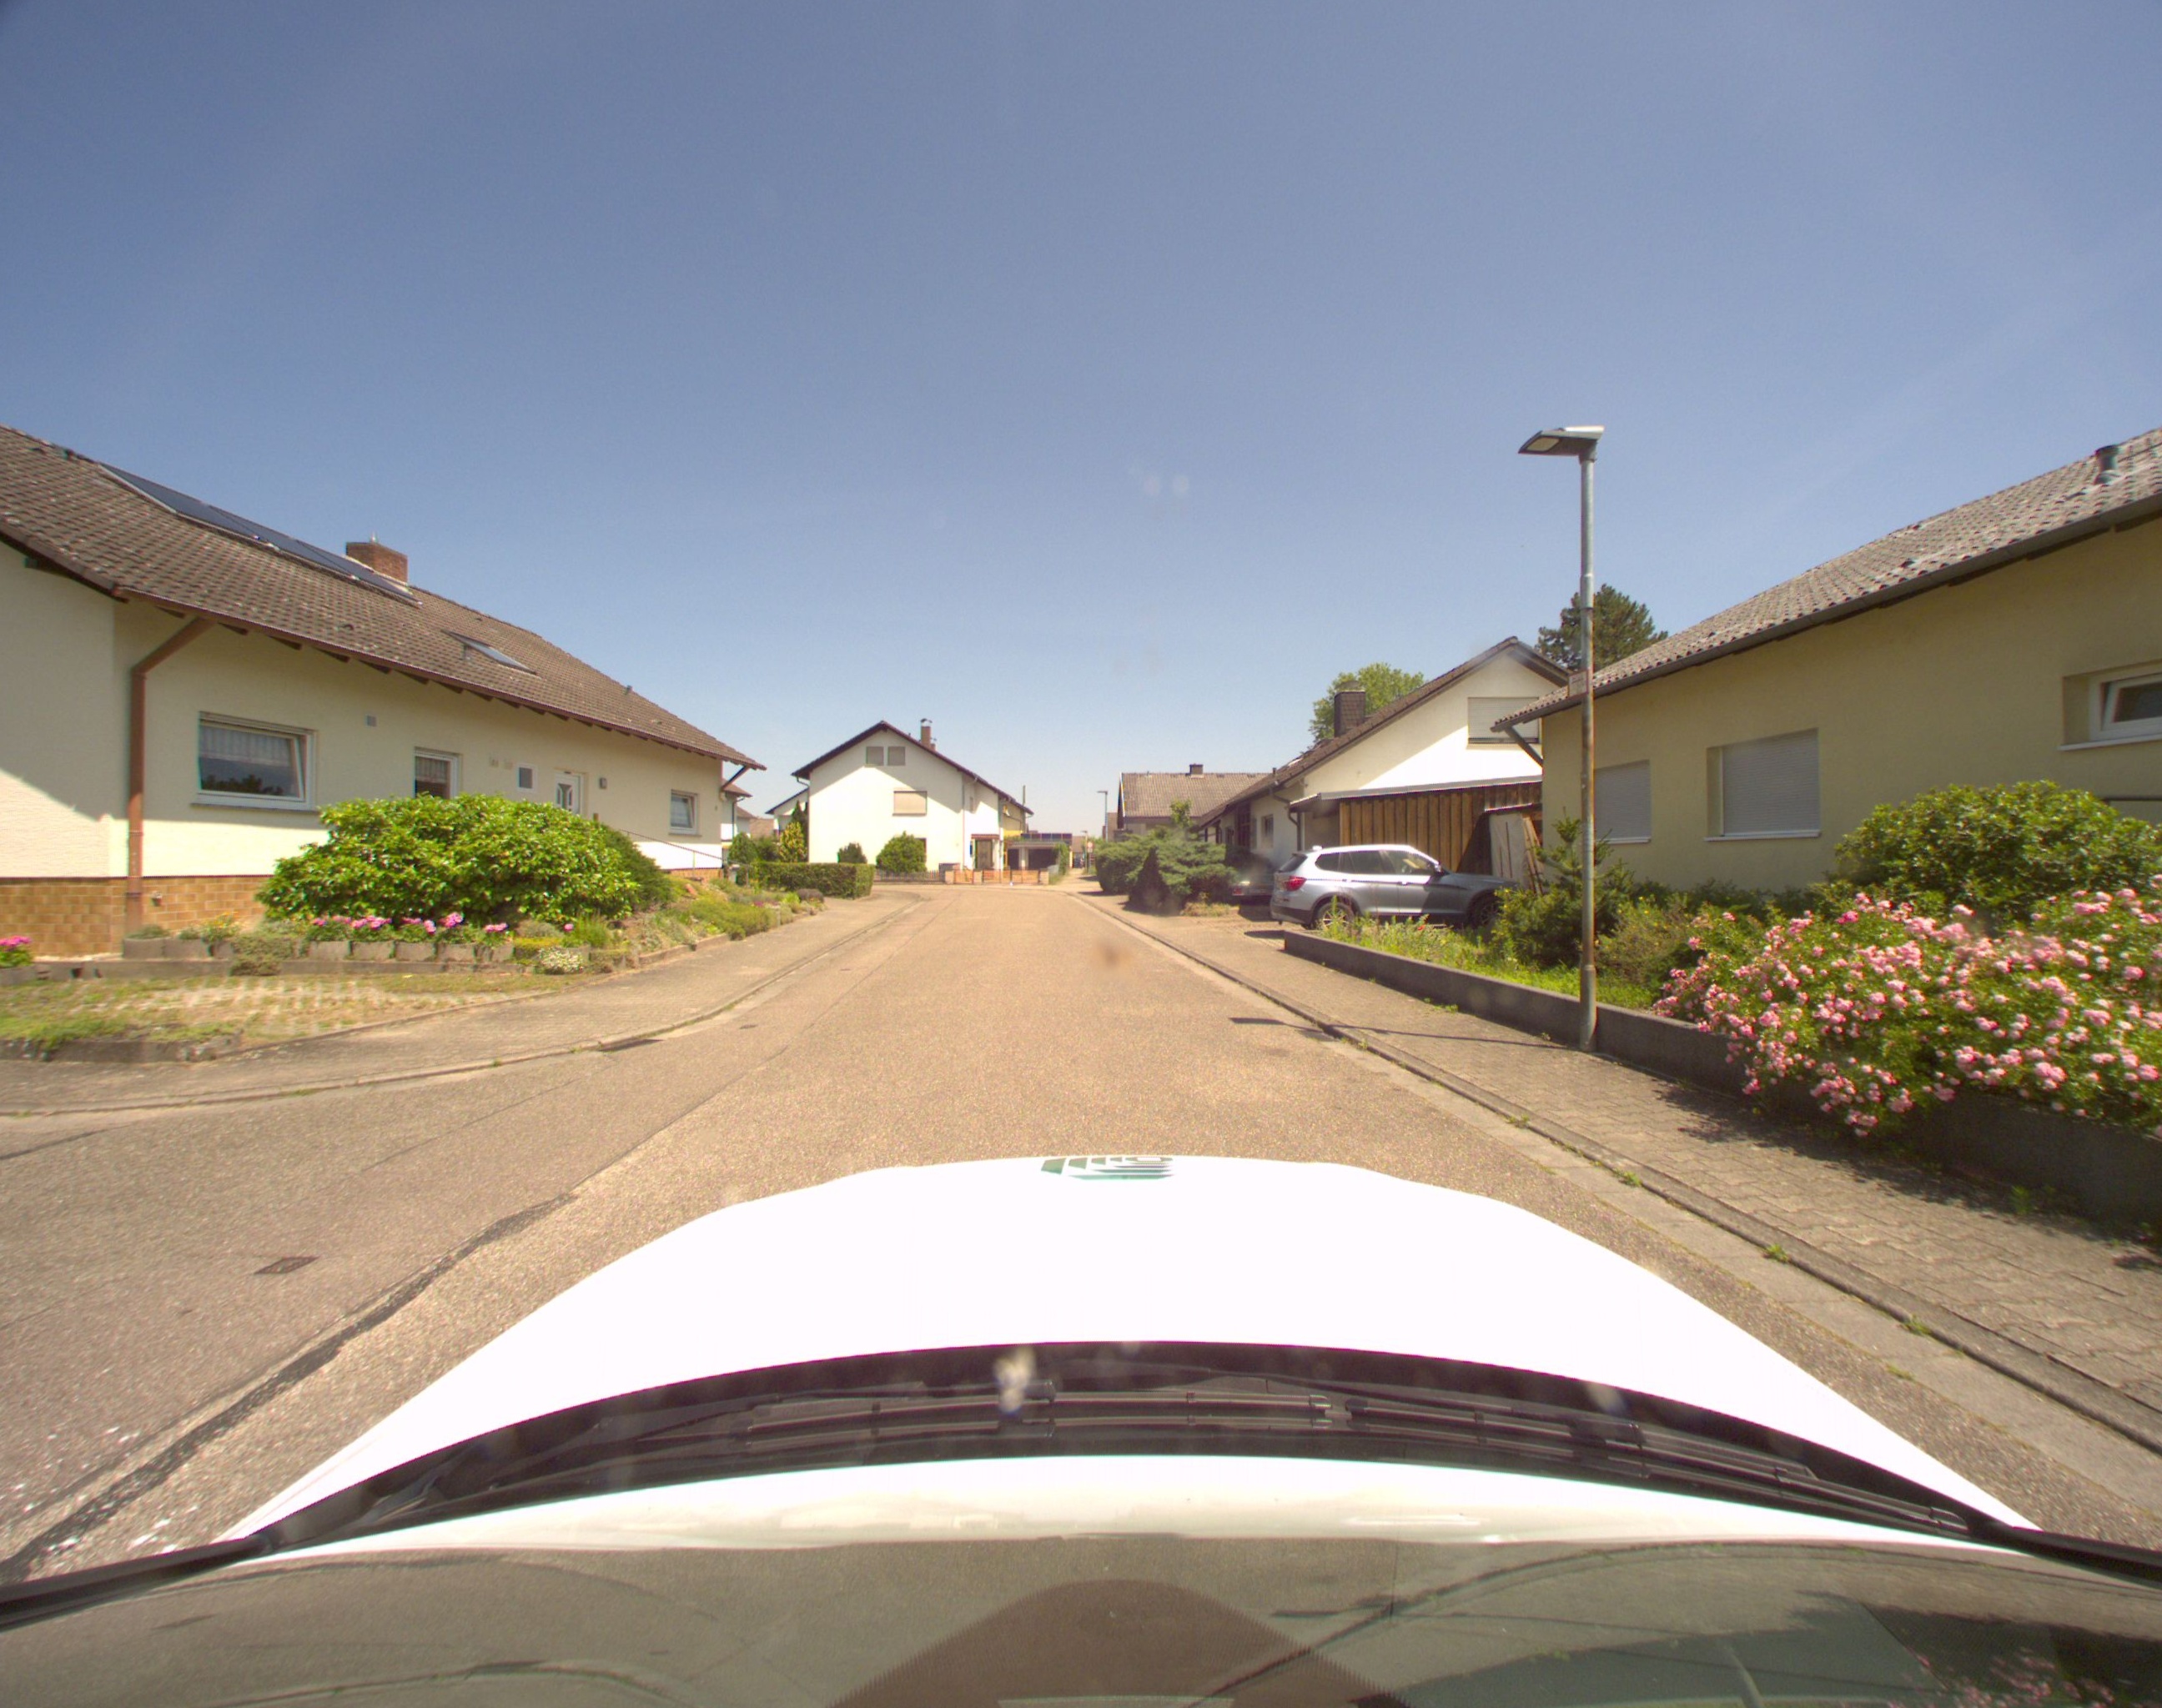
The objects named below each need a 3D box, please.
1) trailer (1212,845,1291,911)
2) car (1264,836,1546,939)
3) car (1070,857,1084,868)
[{"bbox_3d":[4.725,0.623,22.938,1.581,1.672,3.297,-2,0,1],"label":"trailer"},{"bbox_3d":[5.927,0.606,15.341,4.607,1.702,1.711,-2,-1,3],"label":"car"},{"bbox_3d":[-0.689,1.467,141.105,2.186,1.701,3.808,0,0,1],"label":"car"}]
